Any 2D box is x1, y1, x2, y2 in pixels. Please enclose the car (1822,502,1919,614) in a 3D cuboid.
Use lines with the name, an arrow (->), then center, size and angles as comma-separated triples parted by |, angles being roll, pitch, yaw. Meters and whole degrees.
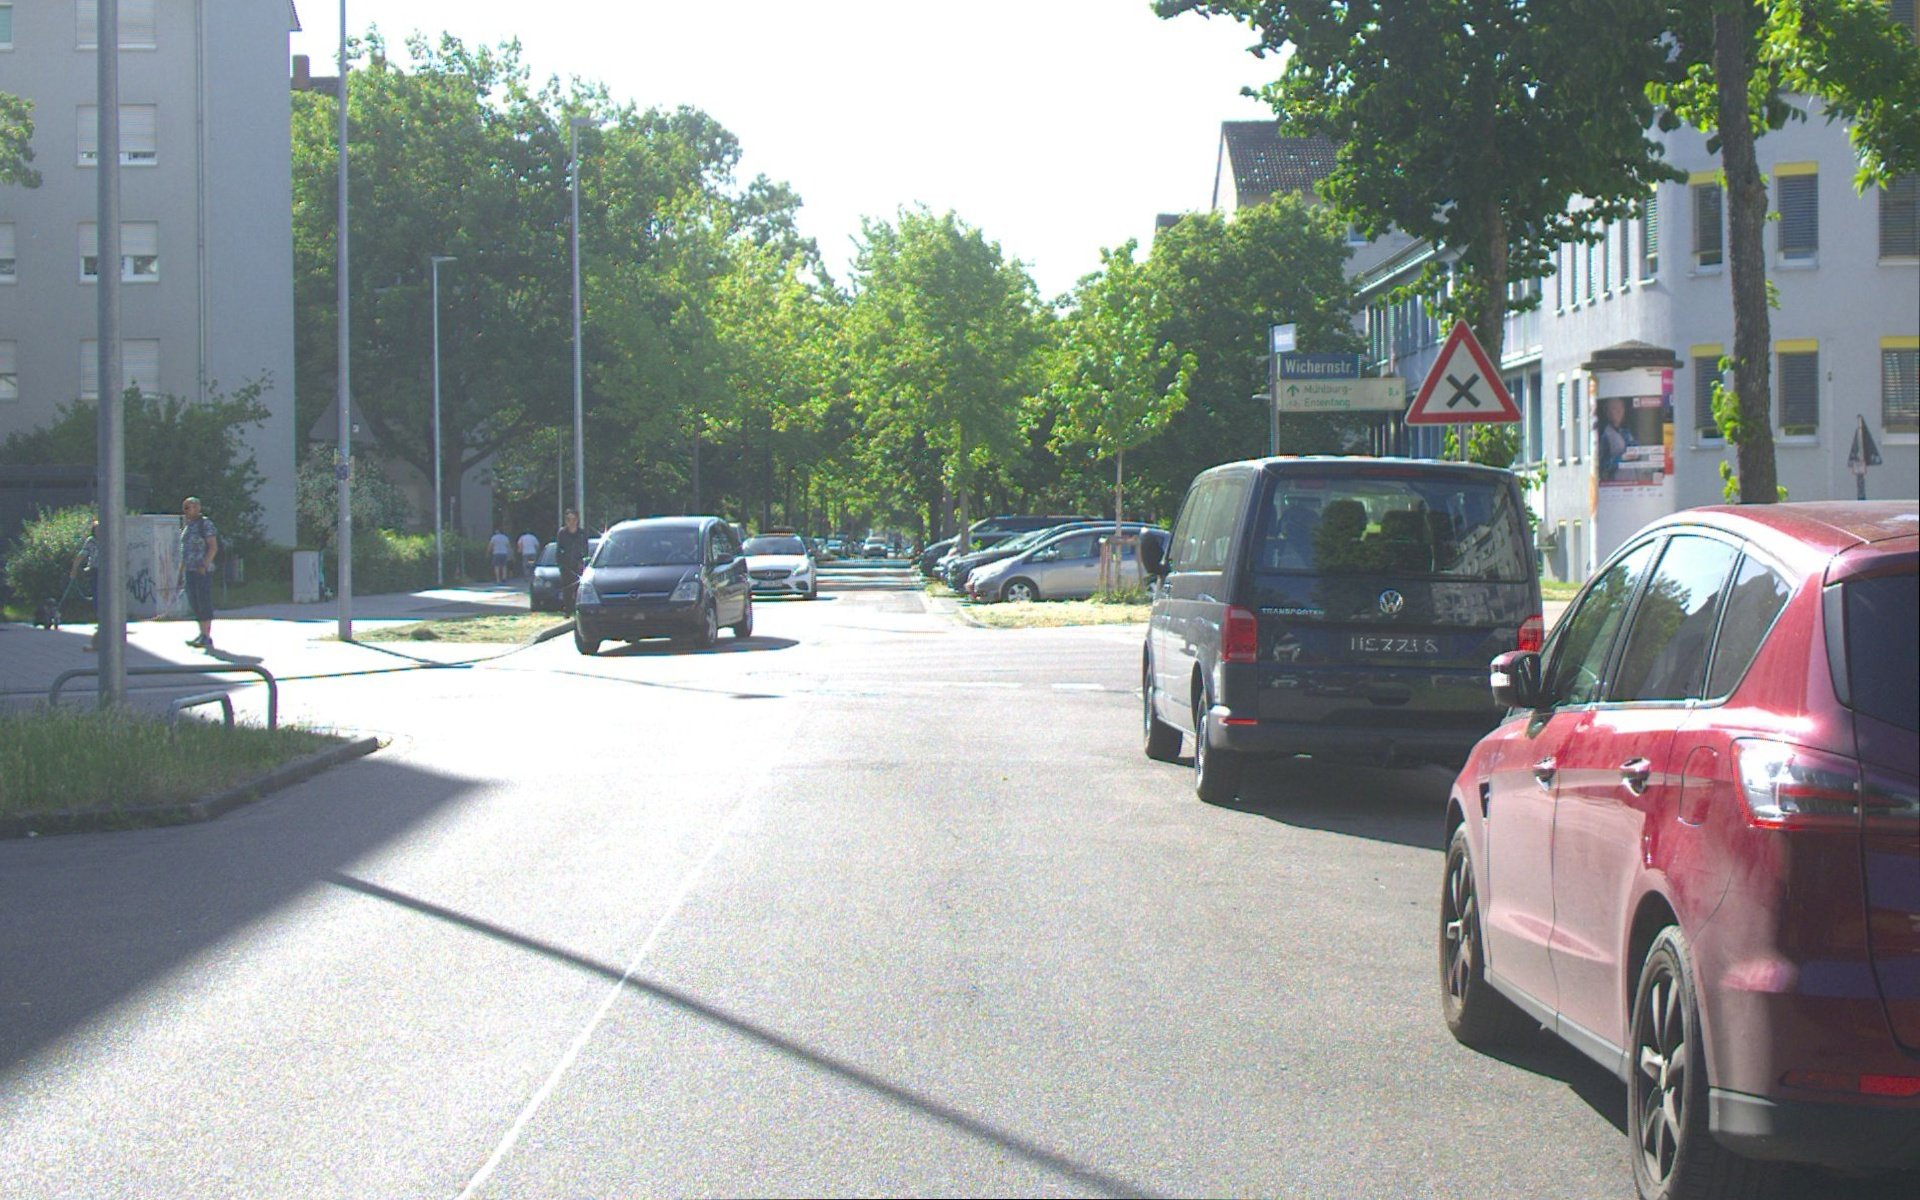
car -> 14.187, -0.576, 47.602 | 4.123, 1.499, 1.843 | 0, 1, -26

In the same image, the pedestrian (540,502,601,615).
pedestrian -> -5.966, -0.645, 52.727 | 0.870, 1.708, 0.979 | -1, 1, -4

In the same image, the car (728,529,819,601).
car -> -4.164, -0.797, 77.212 | 1.885, 1.499, 4.639 | 2, 1, -2

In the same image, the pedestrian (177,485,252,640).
pedestrian -> -9.198, -0.465, 42.444 | 0.843, 1.878, 0.791 | 1, 1, -11

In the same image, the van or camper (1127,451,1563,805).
van or camper -> 2.203, 0.119, 21.196 | 1.989, 1.856, 5.387 | 1, 1, -1

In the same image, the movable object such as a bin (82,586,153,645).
movable object such as a bin -> -10.225, 0.180, 41.736 | 0.272, 0.677, 0.847 | 0, 2, 37

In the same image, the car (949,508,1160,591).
car -> 1.930, -1.051, 71.239 | 4.203, 1.590, 2.000 | 1, 1, -2

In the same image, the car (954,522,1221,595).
car -> 2.386, -0.798, 65.228 | 4.869, 1.270, 1.729 | -1, 1, -5

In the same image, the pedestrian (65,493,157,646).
pedestrian -> -12.005, -0.448, 48.615 | 0.775, 2.113, 0.956 | 2, 3, 43

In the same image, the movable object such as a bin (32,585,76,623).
movable object such as a bin -> -12.909, 0.054, 48.992 | 0.272, 0.540, 0.685 | 0, 1, 20

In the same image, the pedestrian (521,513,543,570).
pedestrian -> -12.642, -1.732, 101.558 | 0.634, 1.659, 0.700 | -1, 1, -6

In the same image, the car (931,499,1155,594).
car -> 1.619, -1.054, 68.414 | 4.278, 1.758, 2.000 | 1, 1, -3

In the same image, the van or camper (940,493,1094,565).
van or camper -> 1.507, -1.888, 91.903 | 3.987, 1.766, 2.000 | 2, 1, -1

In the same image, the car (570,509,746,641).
car -> -3.712, -0.316, 42.857 | 1.737, 1.525, 4.114 | 1, 1, 1

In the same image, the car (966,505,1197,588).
car -> 2.204, -0.981, 63.184 | 4.088, 1.487, 1.729 | 0, 1, -4

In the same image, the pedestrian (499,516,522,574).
pedestrian -> -12.839, -1.571, 98.189 | 0.634, 1.659, 0.700 | -1, 1, -6

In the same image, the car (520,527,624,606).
car -> -7.268, -0.638, 64.740 | 1.667, 1.415, 4.001 | 1, 1, -3

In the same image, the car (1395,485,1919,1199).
car -> 2.341, 0.568, 8.673 | 1.899, 1.608, 4.972 | 0, 1, 1
